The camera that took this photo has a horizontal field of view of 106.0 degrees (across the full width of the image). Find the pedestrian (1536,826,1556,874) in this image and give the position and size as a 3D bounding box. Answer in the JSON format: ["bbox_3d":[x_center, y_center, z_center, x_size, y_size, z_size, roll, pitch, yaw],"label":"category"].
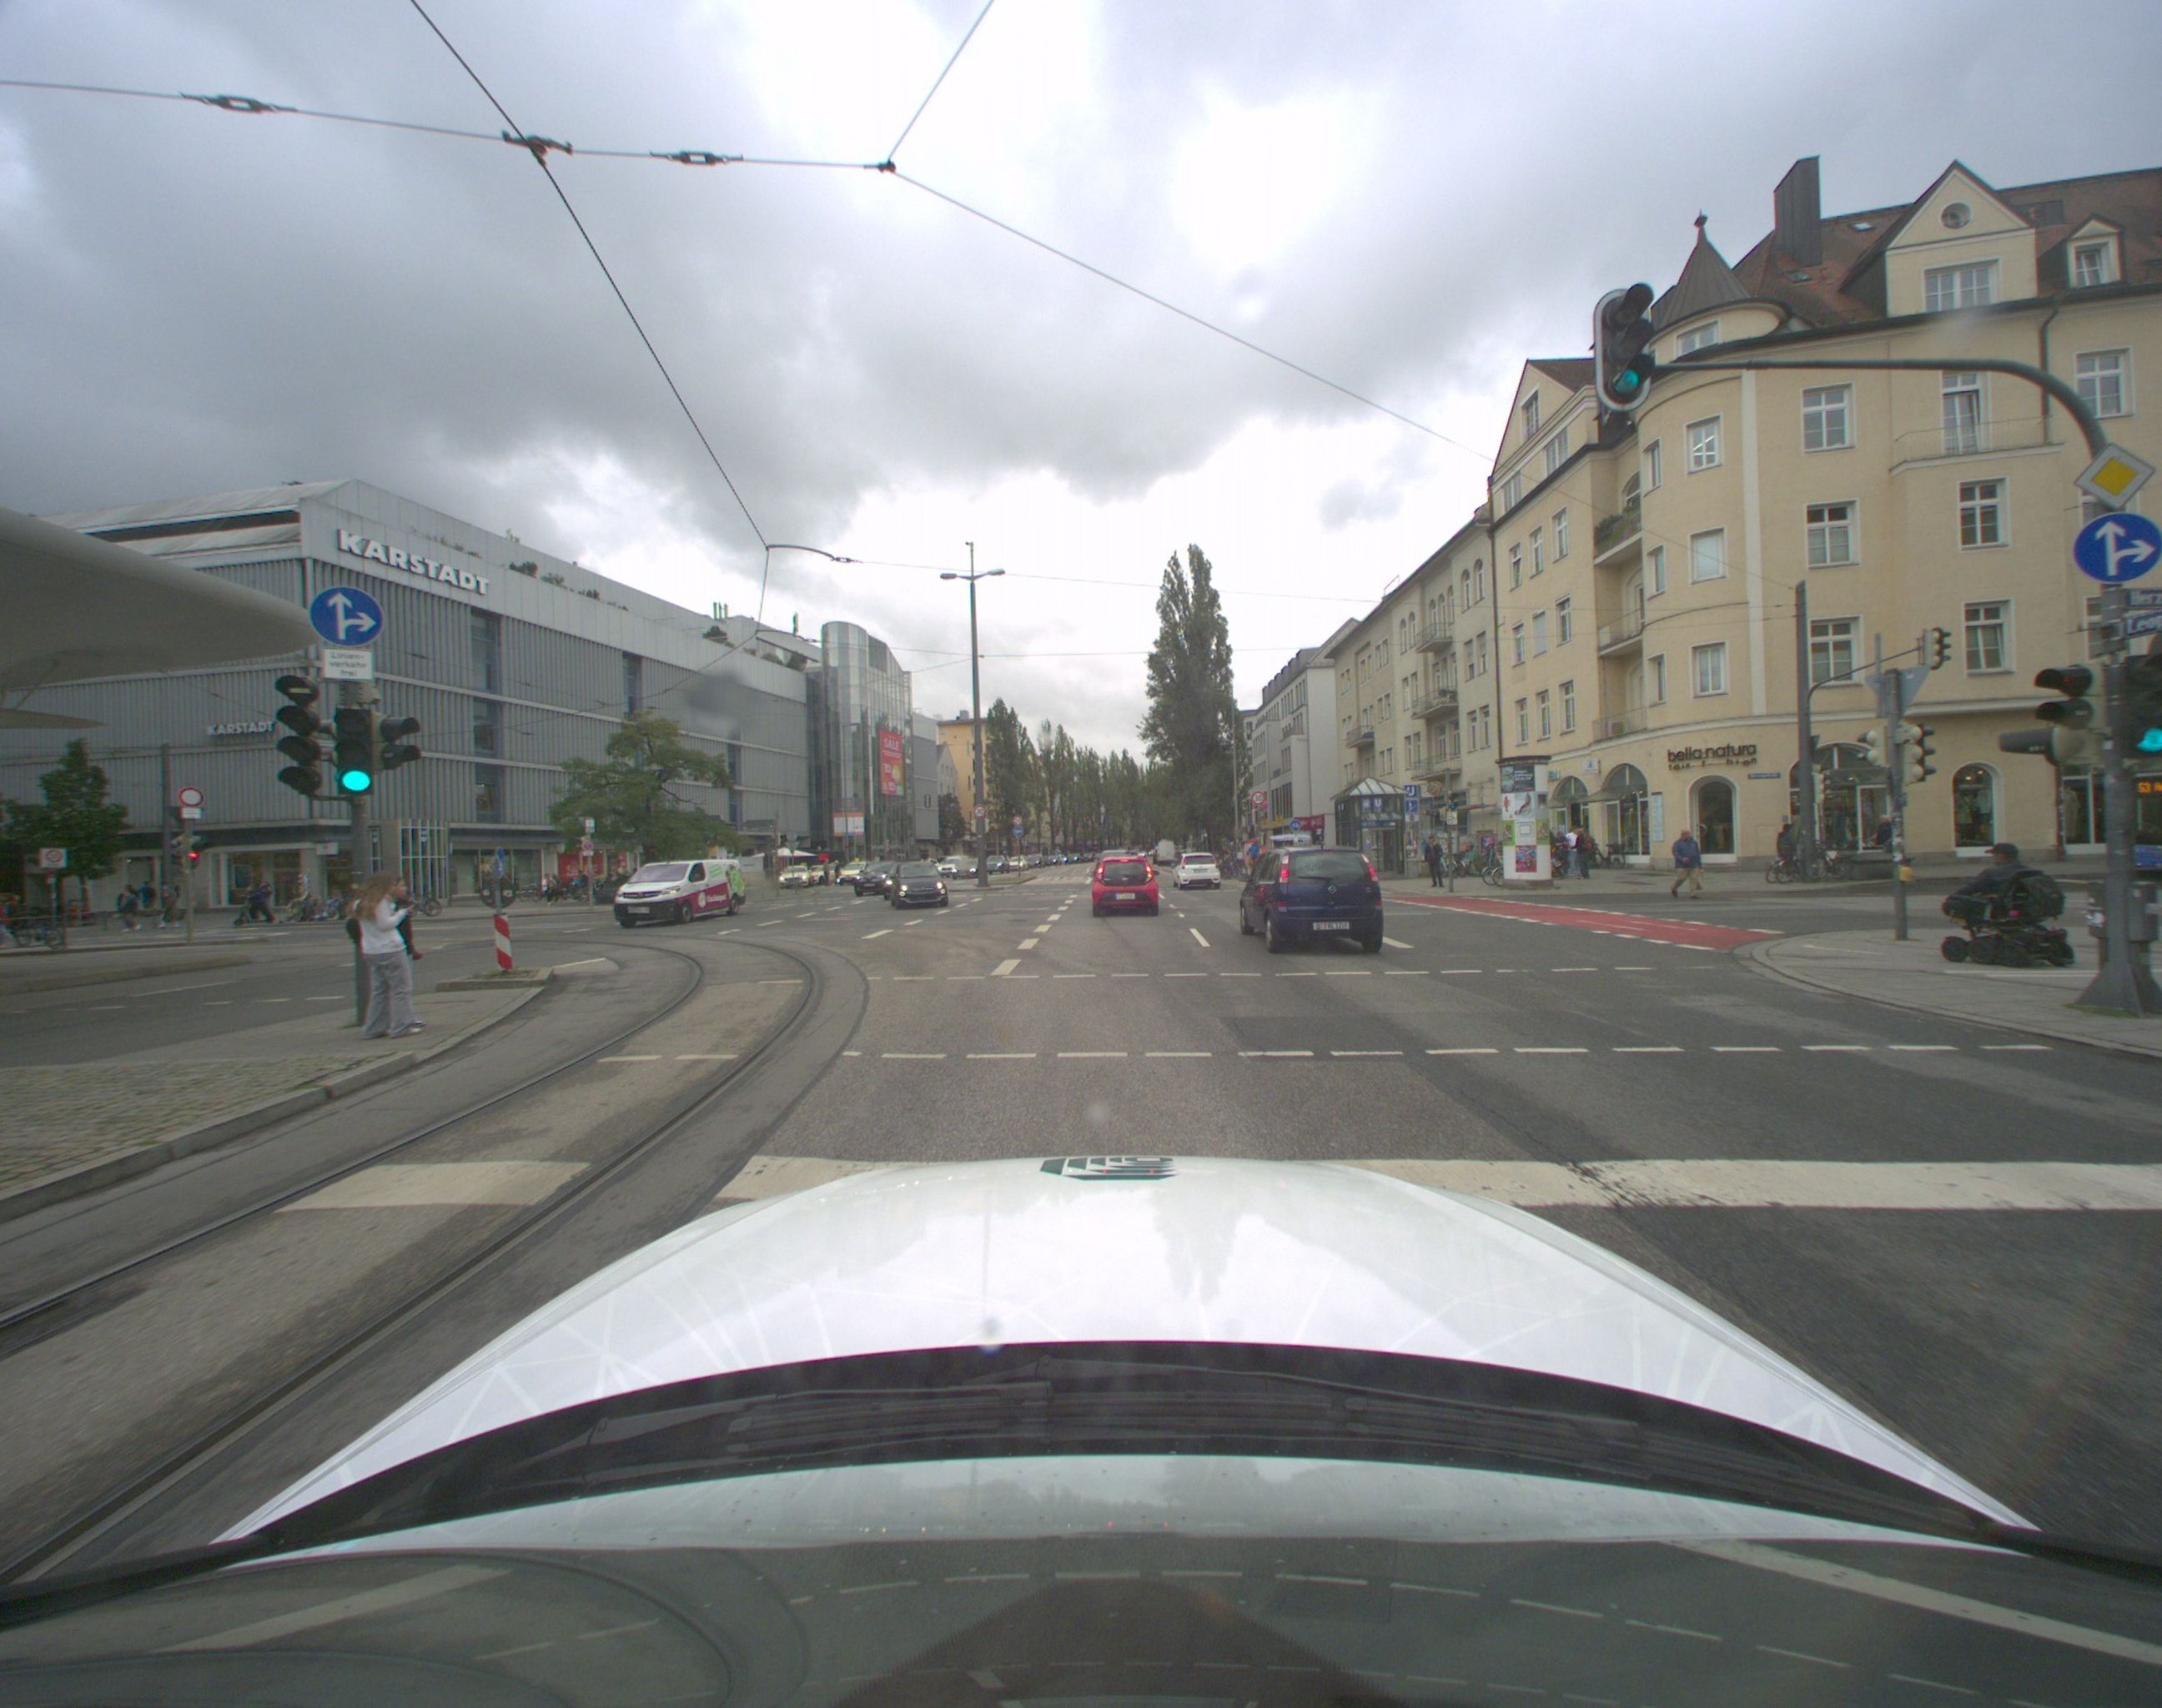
[{"bbox_3d":[16.529,-0.144,28.959,0.560,1.670,0.565,-2,3,24],"label":"pedestrian"}]

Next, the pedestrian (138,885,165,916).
[{"bbox_3d":[-48.525,2.404,42.521,0.675,1.552,0.658,-2,0,10],"label":"pedestrian"}]

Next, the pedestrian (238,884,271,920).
[{"bbox_3d":[-40.812,2.366,40.201,0.782,1.687,0.786,-2,0,6],"label":"pedestrian"}]

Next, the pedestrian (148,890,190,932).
[{"bbox_3d":[-37.947,2.358,33.895,0.781,1.642,0.861,-2,0,13],"label":"pedestrian"}]

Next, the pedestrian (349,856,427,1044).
[{"bbox_3d":[-6.300,0.836,7.403,0.466,1.618,0.515,-2,0,-45],"label":"pedestrian"}]

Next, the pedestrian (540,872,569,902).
[{"bbox_3d":[-29.141,1.828,45.081,0.791,1.581,0.980,-2,0,13],"label":"pedestrian"}]

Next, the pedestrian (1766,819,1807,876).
[{"bbox_3d":[21.683,-0.221,25.034,0.676,1.684,0.749,-2,3,11],"label":"pedestrian"}]

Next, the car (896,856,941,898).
[{"bbox_3d":[-6.306,0.873,31.820,1.502,1.535,2.830,-1,-1,-7],"label":"car"}]

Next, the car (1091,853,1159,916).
[{"bbox_3d":[1.127,0.724,20.880,1.598,1.461,3.132,0,0,3],"label":"car"}]

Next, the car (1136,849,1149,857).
[{"bbox_3d":[13.388,-0.181,176.627,1.979,1.691,4.431,-2,0,14],"label":"car"}]

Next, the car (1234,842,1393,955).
[{"bbox_3d":[3.635,0.628,13.341,1.696,1.589,3.558,-1,0,2],"label":"car"}]

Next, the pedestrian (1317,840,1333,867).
[{"bbox_3d":[16.028,-0.024,53.502,0.809,1.727,0.759,-3,0,2],"label":"pedestrian"}]

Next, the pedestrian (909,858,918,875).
[{"bbox_3d":[-17.879,1.326,86.850,0.646,1.691,0.714,-2,0,15],"label":"pedestrian"}]

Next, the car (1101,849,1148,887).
[{"bbox_3d":[1.956,0.609,37.534,1.986,1.618,4.001,-2,0,1],"label":"car"}]

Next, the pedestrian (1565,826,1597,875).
[{"bbox_3d":[17.886,-0.147,29.135,0.648,1.705,0.727,-4,3,-28],"label":"pedestrian"}]

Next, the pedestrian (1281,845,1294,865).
[{"bbox_3d":[15.499,0.066,61.185,0.801,1.522,0.804,-2,0,22],"label":"pedestrian"}]

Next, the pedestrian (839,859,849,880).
[{"bbox_3d":[-20.796,1.329,71.588,0.553,1.817,0.630,-2,0,13],"label":"pedestrian"}]

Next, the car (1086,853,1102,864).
[{"bbox_3d":[2.166,0.786,137.100,1.982,1.691,4.933,-2,0,9],"label":"car"}]

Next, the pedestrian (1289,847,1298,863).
[{"bbox_3d":[18.513,0.088,71.016,0.596,1.402,0.580,-2,0,2],"label":"pedestrian"}]

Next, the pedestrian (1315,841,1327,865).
[{"bbox_3d":[17.565,-0.072,59.560,0.594,1.669,0.690,-2,0,37],"label":"pedestrian"}]

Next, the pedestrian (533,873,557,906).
[{"bbox_3d":[-26.910,1.776,40.877,0.633,1.574,0.724,-2,0,16],"label":"pedestrian"}]

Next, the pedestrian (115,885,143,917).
[{"bbox_3d":[-48.585,2.406,41.560,0.675,1.552,0.658,-2,0,10],"label":"pedestrian"}]

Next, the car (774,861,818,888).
[{"bbox_3d":[-18.621,1.277,53.359,1.994,1.536,4.399,-3,1,-10],"label":"car"}]

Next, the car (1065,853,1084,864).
[{"bbox_3d":[-0.928,0.696,118.969,1.981,1.534,4.600,-2,0,10],"label":"car"}]

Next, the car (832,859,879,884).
[{"bbox_3d":[-15.768,1.167,57.168,1.893,1.543,4.396,-2,0,3],"label":"car"}]

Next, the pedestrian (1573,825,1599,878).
[{"bbox_3d":[17.208,-0.076,27.741,0.642,1.751,0.640,-2,3,24],"label":"pedestrian"}]

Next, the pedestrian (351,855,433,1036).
[{"bbox_3d":[-6.530,0.835,7.739,0.489,1.618,0.552,-2,0,-33],"label":"pedestrian"}]

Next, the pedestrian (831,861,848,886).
[{"bbox_3d":[-16.430,1.331,55.441,0.766,1.690,0.753,-2,0,7],"label":"pedestrian"}]

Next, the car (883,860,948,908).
[{"bbox_3d":[-5.523,0.947,26.910,1.551,1.445,3.514,-2,0,-21],"label":"car"}]

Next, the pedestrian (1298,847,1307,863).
[{"bbox_3d":[19.325,0.080,70.970,0.572,1.402,0.580,-2,0,2],"label":"pedestrian"}]

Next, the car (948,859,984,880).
[{"bbox_3d":[-8.323,1.116,59.224,1.987,1.412,4.167,0,0,0],"label":"car"}]

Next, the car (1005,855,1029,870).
[{"bbox_3d":[-6.449,0.798,82.109,1.758,1.421,4.642,-2,0,3],"label":"car"}]

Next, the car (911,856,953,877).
[{"bbox_3d":[-13.113,1.104,71.807,1.979,1.679,4.200,-2,0,14],"label":"car"}]

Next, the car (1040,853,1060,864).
[{"bbox_3d":[-4.010,0.570,105.674,1.834,1.382,4.611,-2,0,8],"label":"car"}]

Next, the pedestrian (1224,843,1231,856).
[{"bbox_3d":[17.725,-0.497,98.535,0.710,1.558,0.676,-2,0,2],"label":"pedestrian"}]

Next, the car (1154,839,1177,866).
[{"bbox_3d":[9.037,-0.147,87.175,2.098,2.718,4.807,-2,0,3],"label":"car"}]

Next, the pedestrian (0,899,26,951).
[{"bbox_3d":[-34.744,2.289,26.080,0.851,1.642,0.791,-2,0,6],"label":"pedestrian"}]

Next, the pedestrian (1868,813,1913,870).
[{"bbox_3d":[25.148,-0.384,25.310,0.676,1.705,0.749,-2,3,11],"label":"pedestrian"}]

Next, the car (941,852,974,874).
[{"bbox_3d":[-12.686,0.880,84.095,1.983,2.013,5.533,-3,1,6],"label":"car"}]

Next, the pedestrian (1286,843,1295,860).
[{"bbox_3d":[20.208,-0.247,78.512,0.710,1.558,0.676,-2,0,2],"label":"pedestrian"}]

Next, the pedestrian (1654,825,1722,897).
[{"bbox_3d":[15.361,0.171,20.646,0.928,1.755,1.067,-2,0,7],"label":"pedestrian"}]

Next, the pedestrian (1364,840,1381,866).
[{"bbox_3d":[19.234,-0.093,53.779,0.748,1.650,0.758,-3,0,0],"label":"pedestrian"}]

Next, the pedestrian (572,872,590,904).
[{"bbox_3d":[-27.287,1.868,44.426,0.791,1.687,0.853,-2,0,-33],"label":"pedestrian"}]

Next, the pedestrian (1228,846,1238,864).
[{"bbox_3d":[14.637,0.125,78.357,0.787,1.727,0.764,-2,0,2],"label":"pedestrian"}]

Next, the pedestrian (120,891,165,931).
[{"bbox_3d":[-39.130,2.357,33.953,0.734,1.588,0.952,-2,0,13],"label":"pedestrian"}]

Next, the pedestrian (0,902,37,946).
[{"bbox_3d":[-41.568,2.716,31.690,0.794,1.654,0.855,-2,0,13],"label":"pedestrian"}]

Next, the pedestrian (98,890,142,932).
[{"bbox_3d":[-40.059,2.356,33.955,0.794,1.654,0.855,-2,0,13],"label":"pedestrian"}]

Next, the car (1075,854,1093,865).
[{"bbox_3d":[0.484,0.817,129.666,1.982,1.691,4.933,-2,0,9],"label":"car"}]

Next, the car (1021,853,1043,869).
[{"bbox_3d":[-5.592,0.791,93.239,1.928,1.739,4.592,-2,0,3],"label":"car"}]

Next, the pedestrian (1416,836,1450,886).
[{"bbox_3d":[12.098,0.236,27.966,0.826,1.691,0.825,-2,0,39],"label":"pedestrian"}]

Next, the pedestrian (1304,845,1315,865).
[{"bbox_3d":[16.848,0.073,60.109,0.573,1.505,0.620,-2,0,33],"label":"pedestrian"}]

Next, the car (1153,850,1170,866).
[{"bbox_3d":[9.248,0.437,93.298,1.696,1.662,3.558,-2,0,2],"label":"car"}]

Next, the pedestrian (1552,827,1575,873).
[{"bbox_3d":[17.222,-0.147,29.065,0.556,1.609,0.570,-2,3,15],"label":"pedestrian"}]

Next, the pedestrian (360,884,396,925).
[{"bbox_3d":[-29.691,2.127,34.400,0.840,1.618,0.806,-2,0,-13],"label":"pedestrian"}]

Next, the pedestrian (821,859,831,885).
[{"bbox_3d":[-17.392,1.252,55.596,0.442,1.759,0.357,-2,0,12],"label":"pedestrian"}]

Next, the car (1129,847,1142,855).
[{"bbox_3d":[12.492,-0.623,186.467,1.979,1.691,4.431,-2,0,14],"label":"car"}]

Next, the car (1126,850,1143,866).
[{"bbox_3d":[6.665,0.523,100.406,1.984,1.838,4.005,-2,0,4],"label":"car"}]

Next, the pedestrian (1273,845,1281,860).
[{"bbox_3d":[18.581,-0.142,77.184,0.596,1.402,0.580,-2,0,2],"label":"pedestrian"}]

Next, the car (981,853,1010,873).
[{"bbox_3d":[-7.440,0.758,71.407,1.736,1.670,4.736,-3,0,3],"label":"car"}]

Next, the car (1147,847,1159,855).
[{"bbox_3d":[16.804,-0.646,188.768,1.979,1.691,4.431,-2,0,14],"label":"car"}]
